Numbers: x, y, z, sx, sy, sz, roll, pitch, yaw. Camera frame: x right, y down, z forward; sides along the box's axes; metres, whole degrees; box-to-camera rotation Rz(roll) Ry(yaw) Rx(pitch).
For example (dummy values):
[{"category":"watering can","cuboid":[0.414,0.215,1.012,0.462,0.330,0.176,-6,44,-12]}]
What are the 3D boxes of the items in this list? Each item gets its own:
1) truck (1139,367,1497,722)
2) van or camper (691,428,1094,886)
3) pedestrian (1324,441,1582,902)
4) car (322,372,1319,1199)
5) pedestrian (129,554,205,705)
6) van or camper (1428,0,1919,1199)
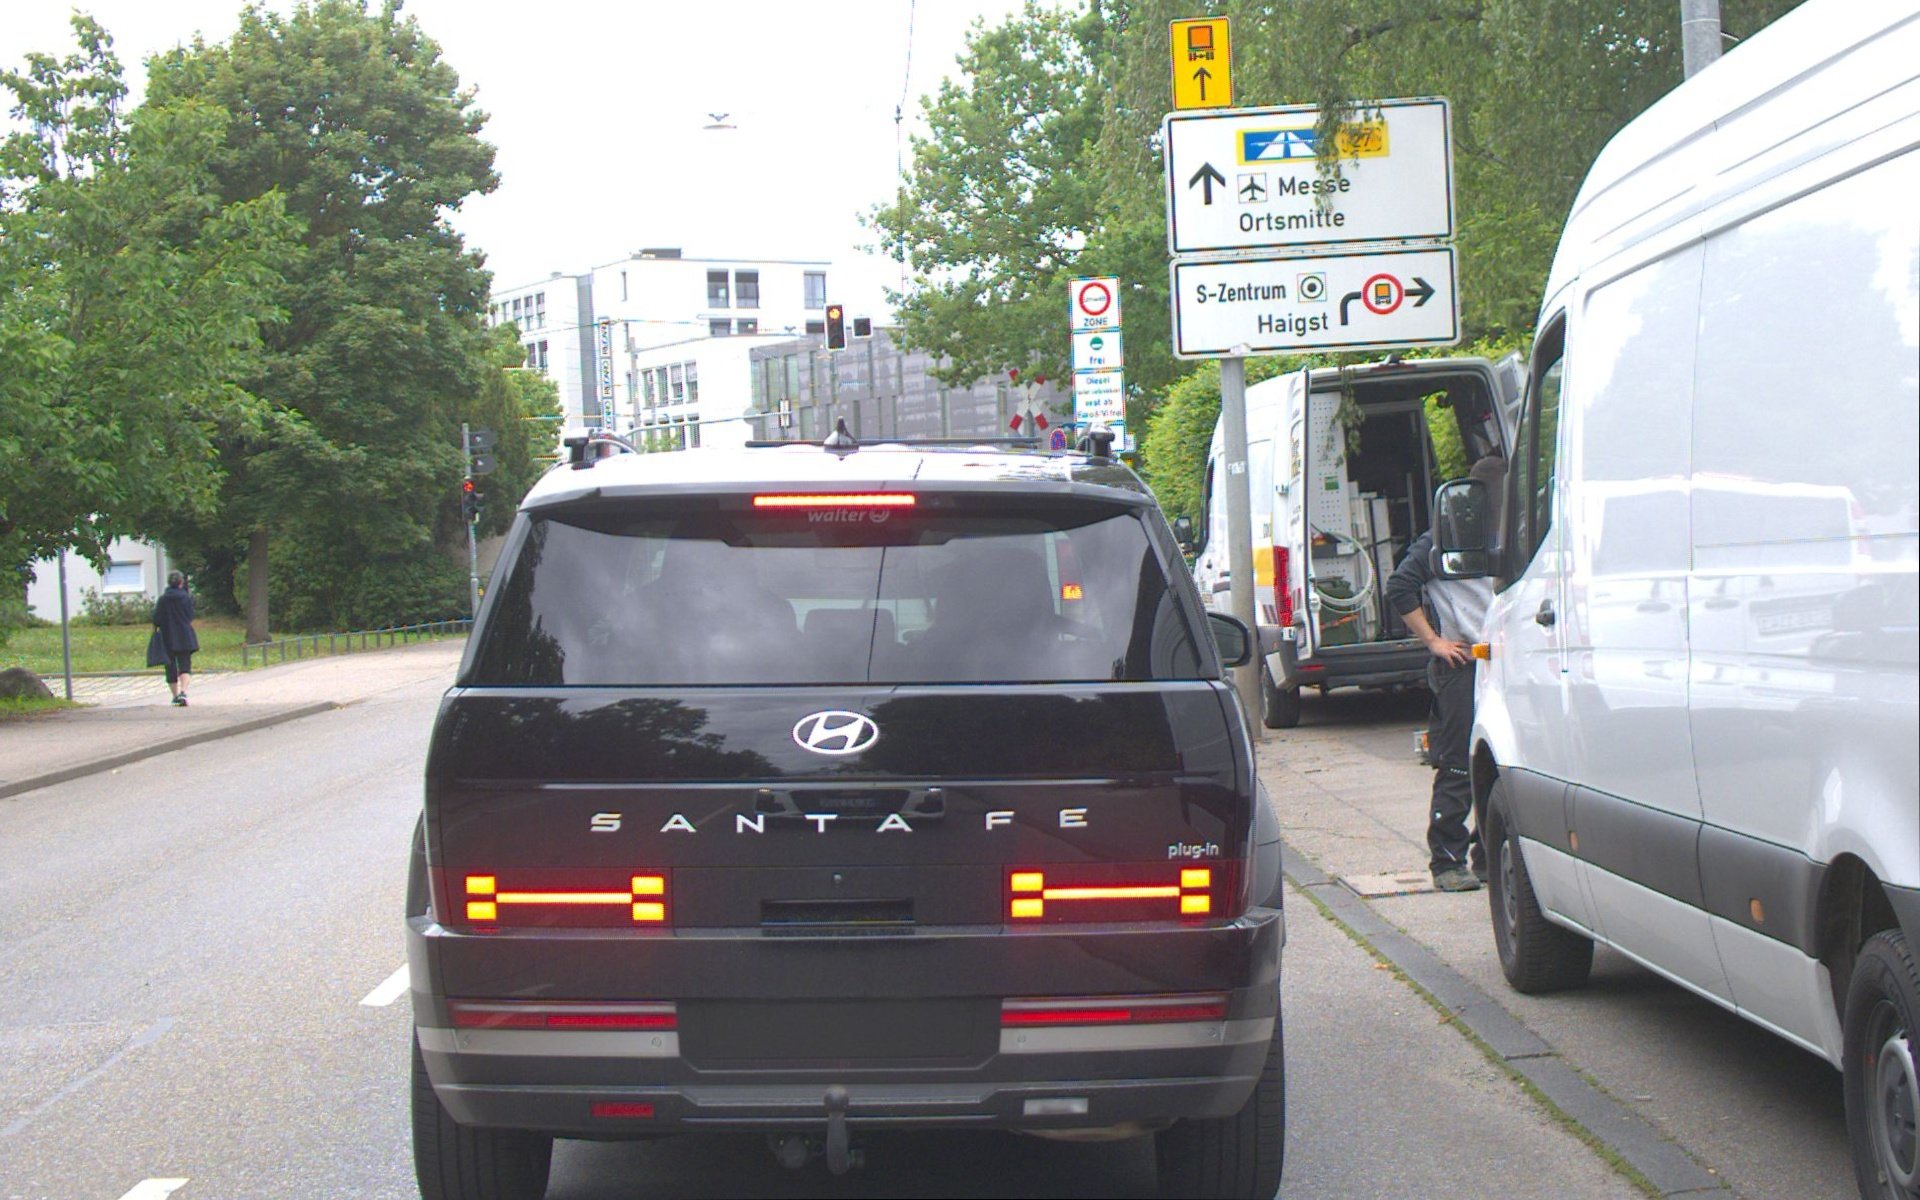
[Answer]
[{"category":"truck","cuboid":[2.829,-0.440,28.433,1.942,2.553,5.217,-4,1,-4]},{"category":"van or camper","cuboid":[-0.325,0.225,17.494,1.754,2.007,4.000,-2,1,-1]},{"category":"pedestrian","cuboid":[1.987,0.275,13.942,0.870,1.791,0.760,-2,1,-1]},{"category":"car","cuboid":[-0.285,0.443,8.551,1.889,1.813,4.000,0,1,-1]},{"category":"pedestrian","cuboid":[-9.220,0.336,40.000,0.738,1.709,0.793,-2,1,-7]},{"category":"van or camper","cuboid":[2.624,-0.081,8.138,1.993,2.611,6.541,-2,1,-1]}]
